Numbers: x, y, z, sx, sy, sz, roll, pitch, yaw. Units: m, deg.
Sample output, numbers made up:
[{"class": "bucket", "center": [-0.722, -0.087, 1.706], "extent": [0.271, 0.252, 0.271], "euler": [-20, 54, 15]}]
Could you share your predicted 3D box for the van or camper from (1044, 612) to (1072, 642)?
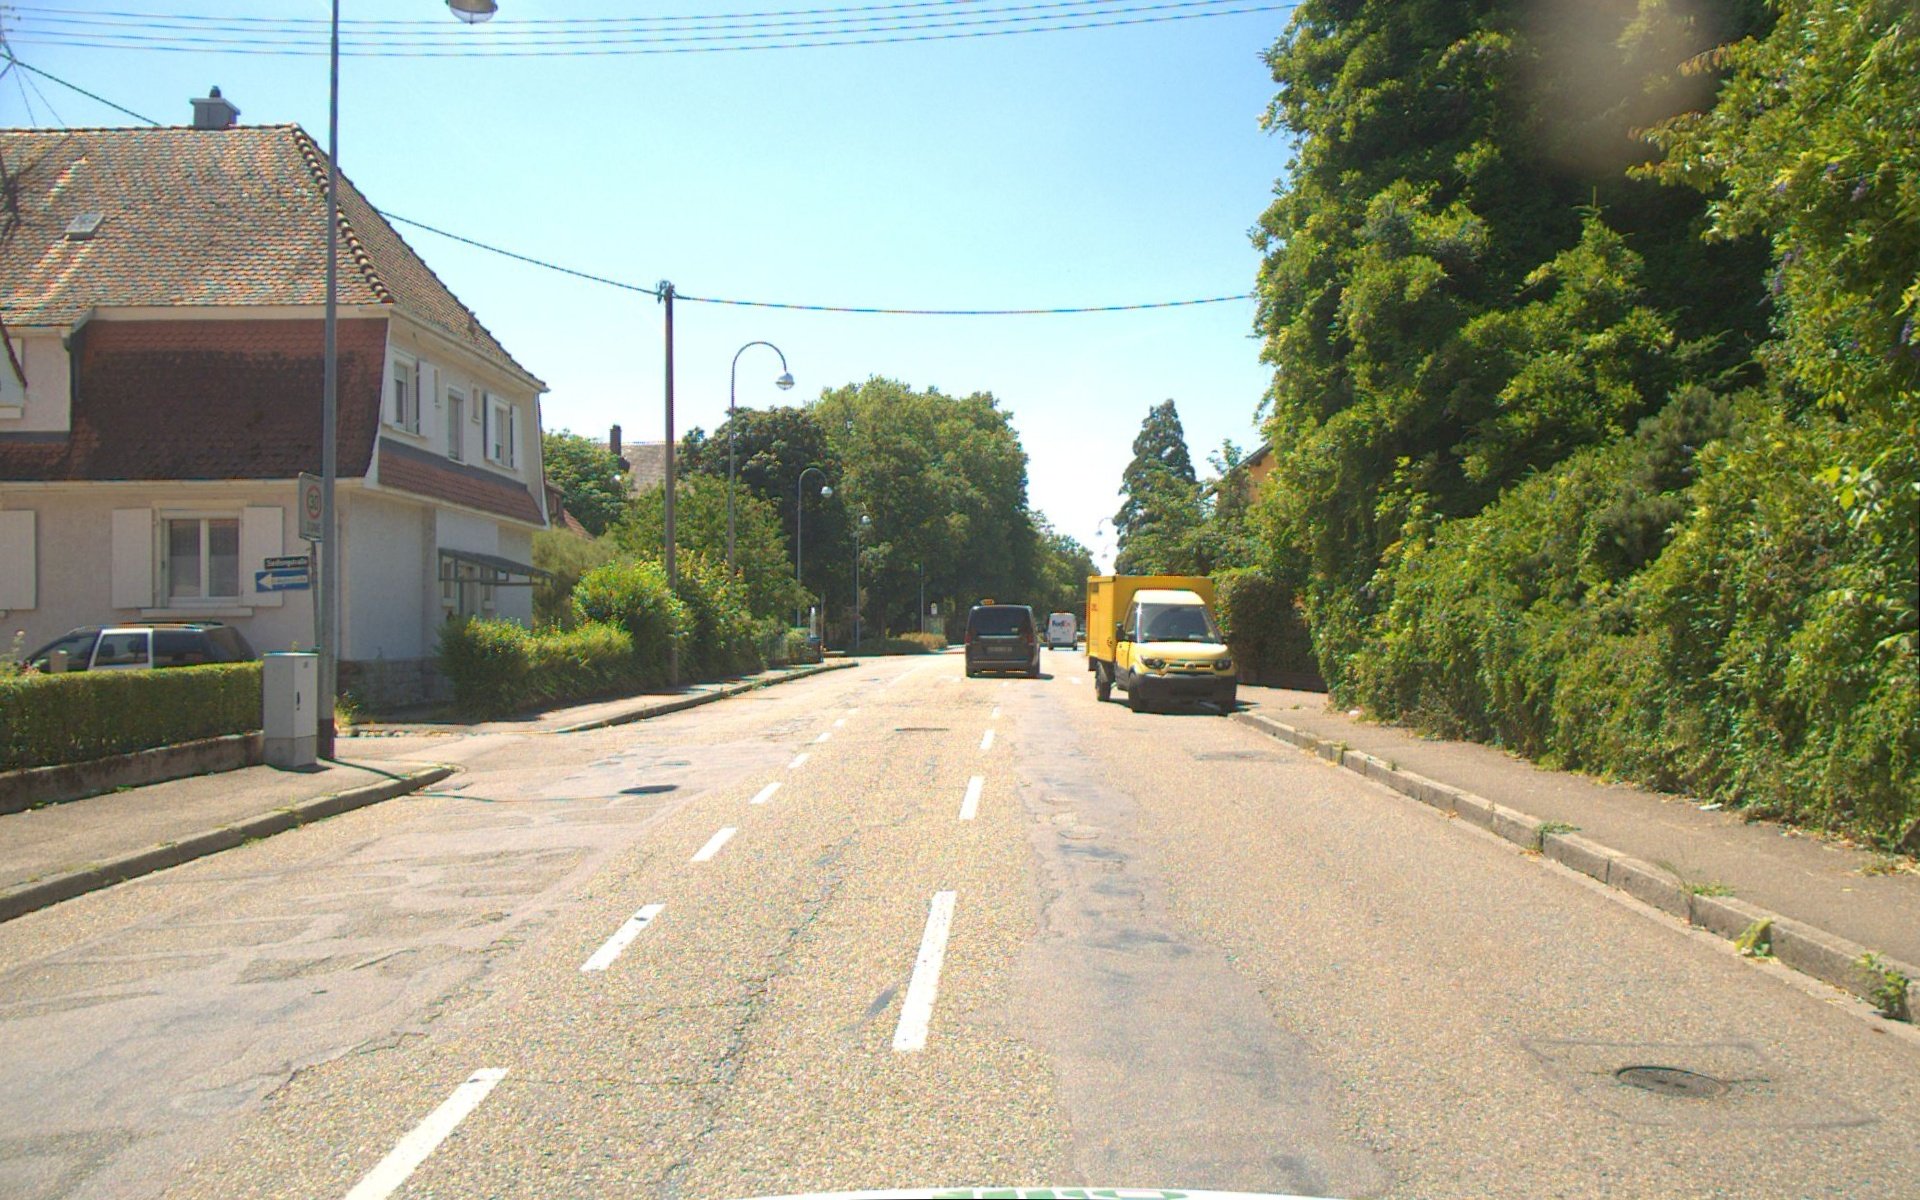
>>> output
[{"class": "van or camper", "center": [7.045, 1.919, 118.425], "extent": [1.952, 2.049, 4.002], "euler": [-1, -1, 4]}]

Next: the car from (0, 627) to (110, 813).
[{"class": "car", "center": [-11.837, 1.325, 18.360], "extent": [3.787, 1.938, 1.880], "euler": [-2, 0, 1]}]

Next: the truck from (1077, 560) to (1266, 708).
[{"class": "truck", "center": [3.569, 0.579, 29.240], "extent": [2.308, 2.298, 6.089], "euler": [-1, -1, -2]}]

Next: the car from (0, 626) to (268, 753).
[{"class": "car", "center": [-12.370, 1.280, 24.039], "extent": [3.787, 1.670, 1.880], "euler": [-2, 0, 1]}]

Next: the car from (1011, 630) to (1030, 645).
[{"class": "car", "center": [6.275, 3.820, 170.353], "extent": [1.515, 1.474, 3.008], "euler": [-1, -1, 10]}]

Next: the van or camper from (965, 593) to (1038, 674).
[{"class": "van or camper", "center": [1.124, 0.870, 44.399], "extent": [1.863, 2.049, 5.271], "euler": [0, -1, 2]}]
